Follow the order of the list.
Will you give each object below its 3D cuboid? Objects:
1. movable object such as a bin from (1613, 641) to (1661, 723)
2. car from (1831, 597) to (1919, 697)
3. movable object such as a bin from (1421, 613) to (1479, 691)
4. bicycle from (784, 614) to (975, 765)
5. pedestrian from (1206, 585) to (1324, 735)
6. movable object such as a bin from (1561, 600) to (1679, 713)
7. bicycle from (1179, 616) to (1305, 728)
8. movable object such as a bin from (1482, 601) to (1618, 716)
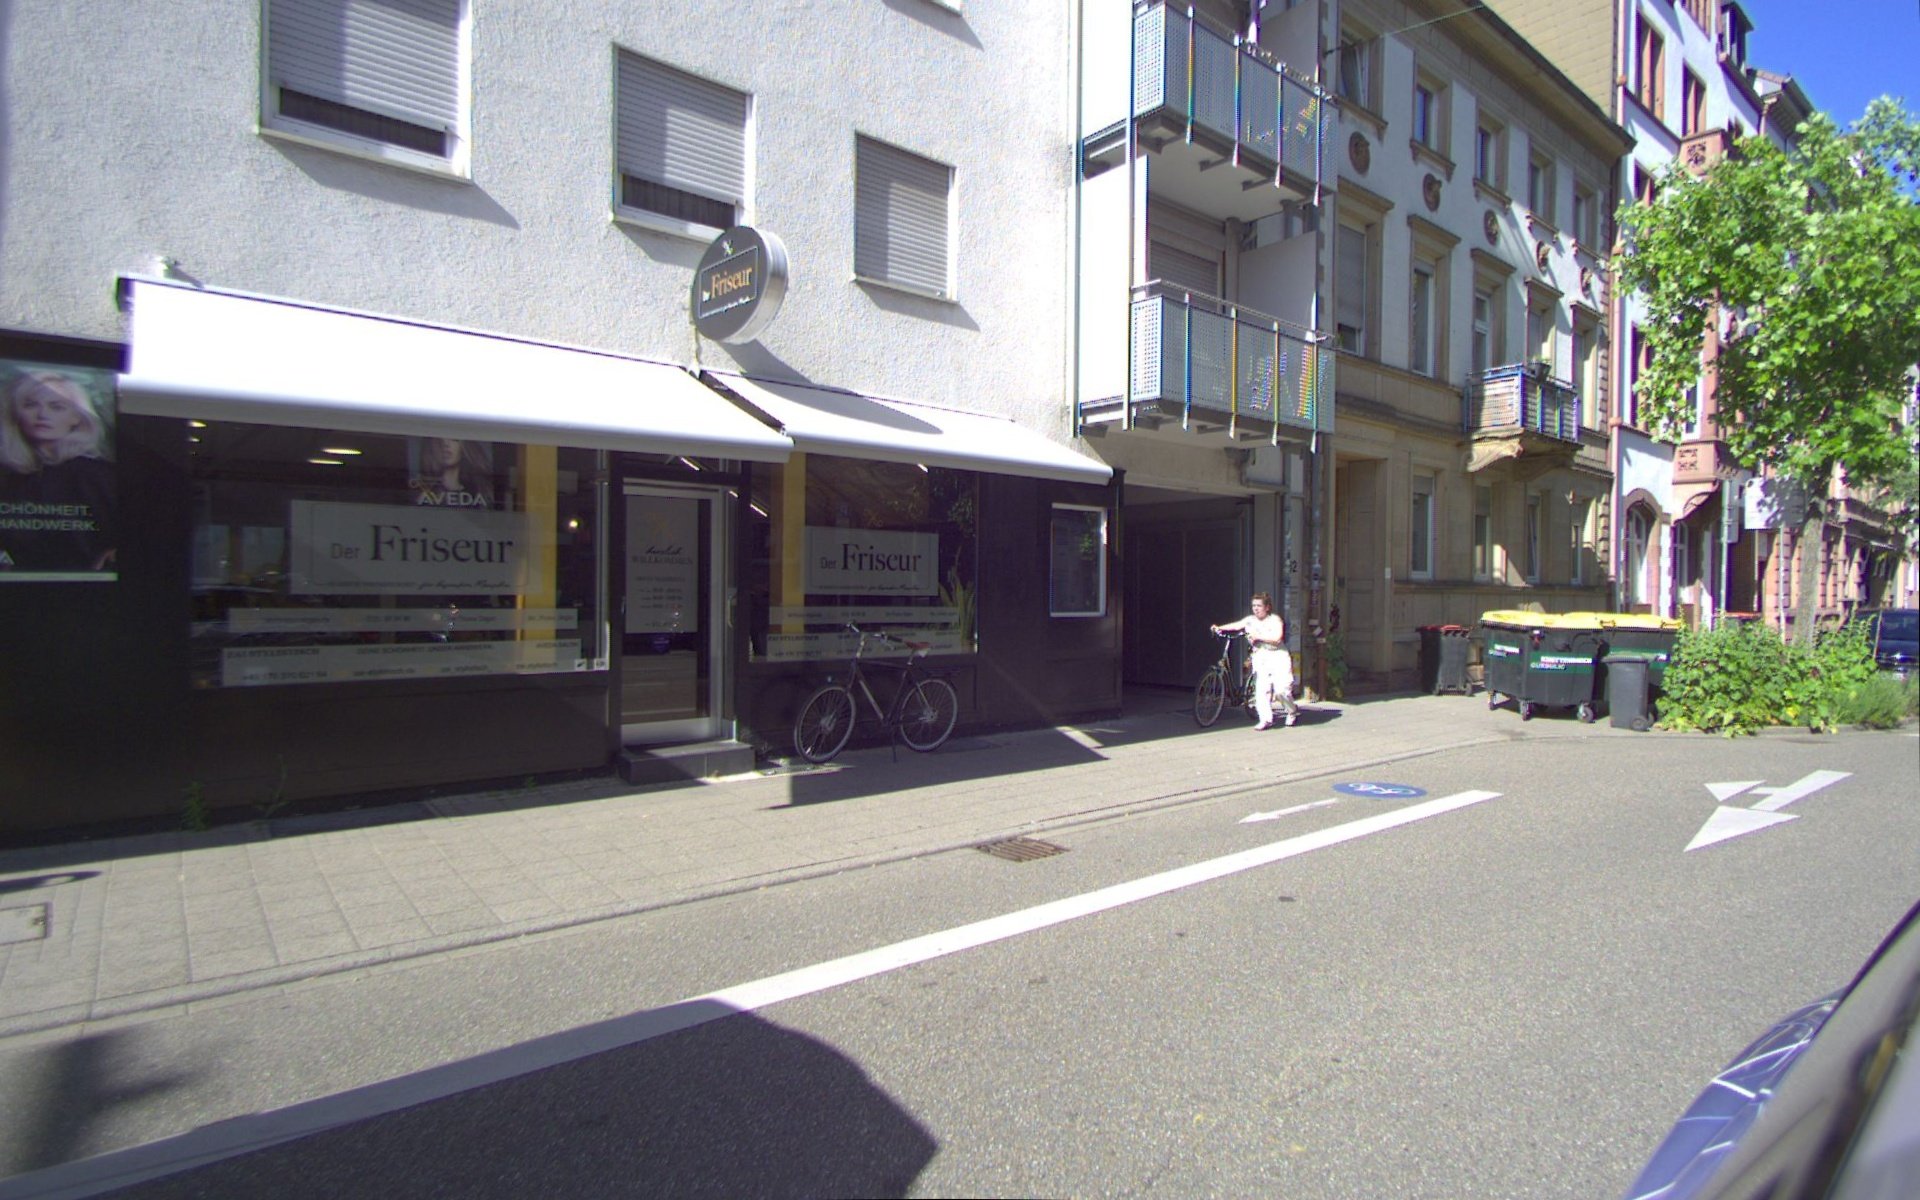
[{"bbox_3d":[8.368,0.999,12.501,0.400,0.933,0.477,3,3,42],"label":"movable object such as a bin"},{"bbox_3d":[15.712,0.717,16.691,3.292,1.510,1.550,0,1,-40],"label":"car"},{"bbox_3d":[7.378,0.770,15.256,0.557,1.094,0.617,1,3,2],"label":"movable object such as a bin"},{"bbox_3d":[-0.668,0.730,8.887,1.760,1.193,0.402,0,0,-39],"label":"bicycle"},{"bbox_3d":[3.443,0.642,11.422,0.930,1.556,0.825,0,4,-40],"label":"pedestrian"},{"bbox_3d":[8.774,0.715,13.507,0.943,1.365,1.066,1,3,12],"label":"movable object such as a bin"},{"bbox_3d":[3.205,0.774,11.425,1.760,1.146,0.402,0,2,-39],"label":"bicycle"},{"bbox_3d":[7.651,0.728,13.205,1.031,1.341,1.216,1,3,2],"label":"movable object such as a bin"}]
